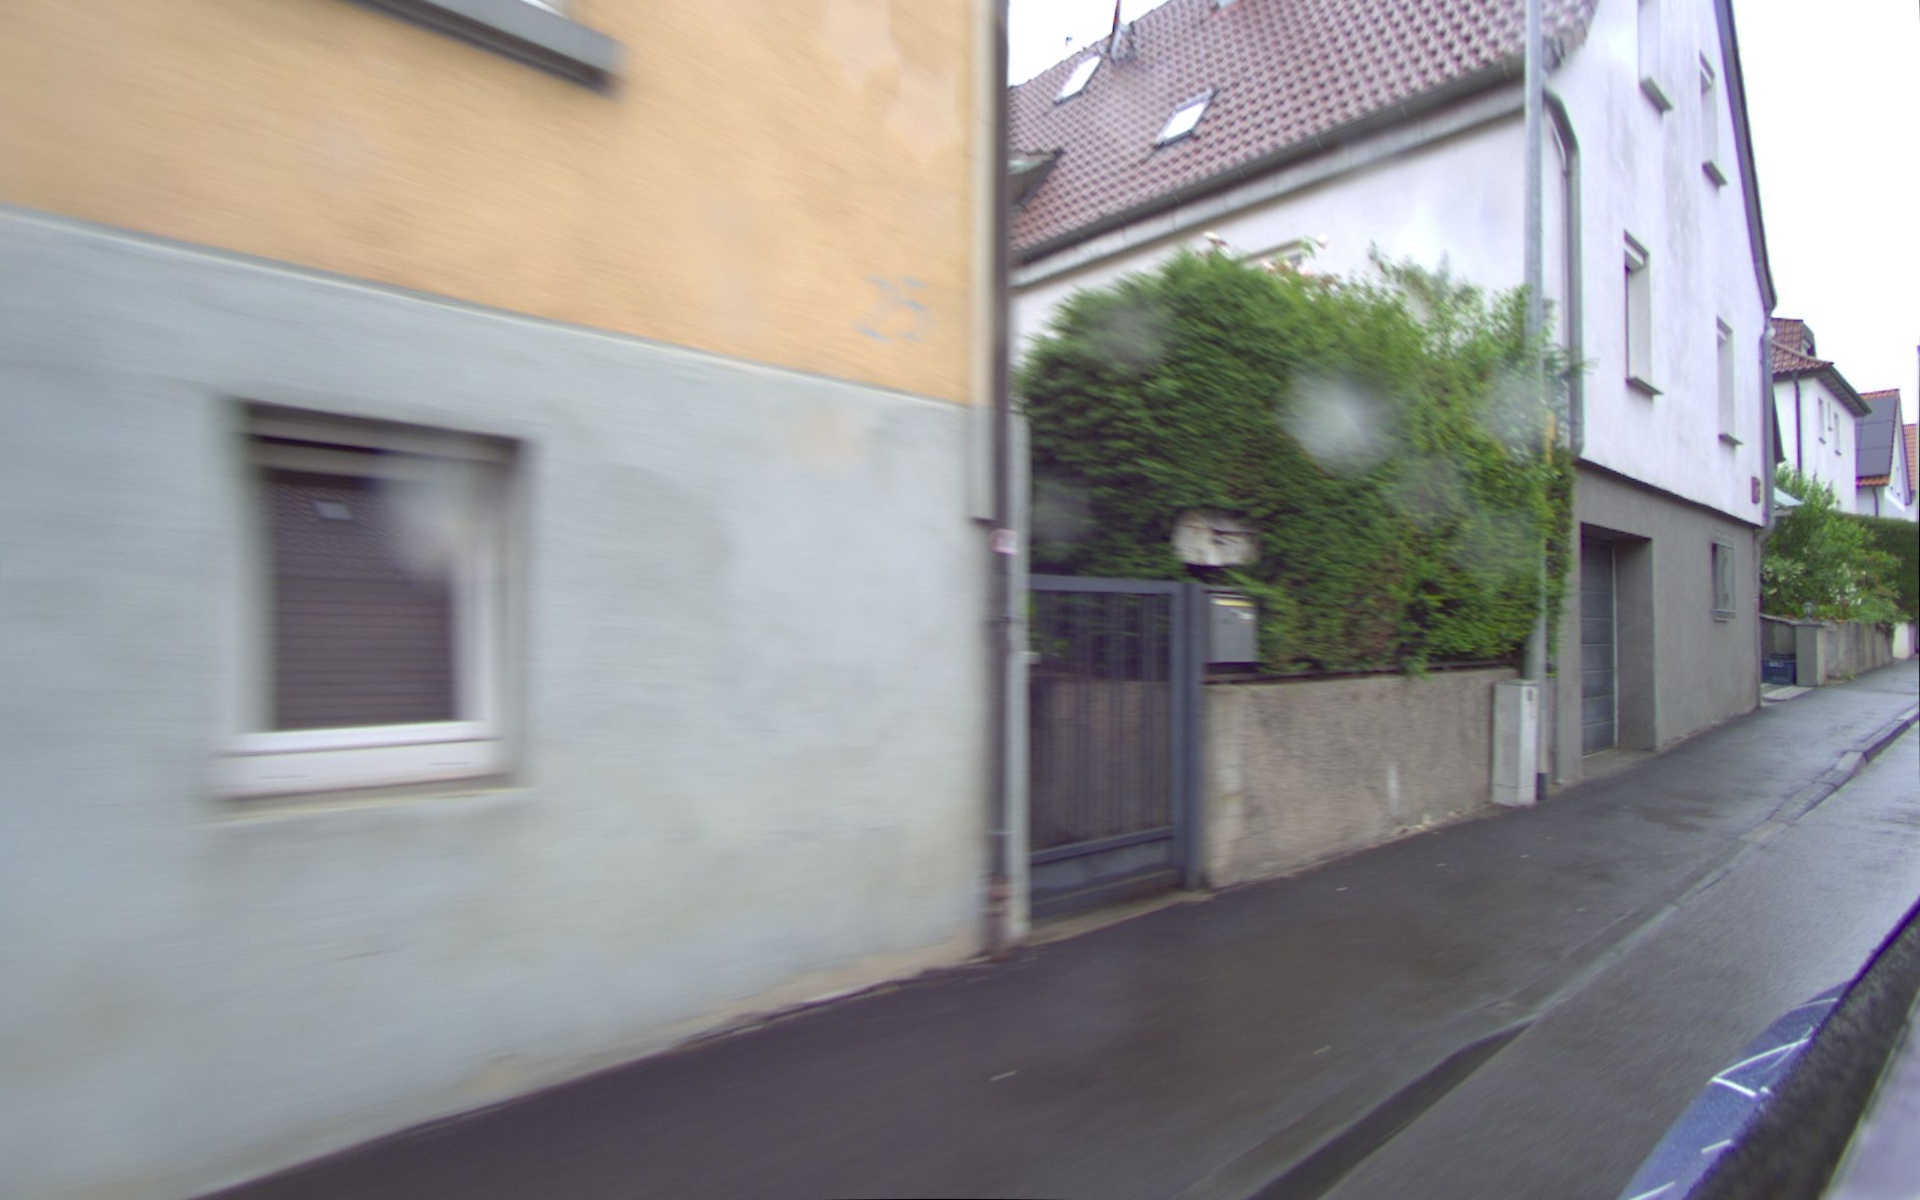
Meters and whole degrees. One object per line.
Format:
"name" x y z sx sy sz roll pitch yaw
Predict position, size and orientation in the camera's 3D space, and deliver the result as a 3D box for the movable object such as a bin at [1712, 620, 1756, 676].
"movable object such as a bin" 13.170 0.810 17.217 0.468 0.916 0.494 1 -1 -41
